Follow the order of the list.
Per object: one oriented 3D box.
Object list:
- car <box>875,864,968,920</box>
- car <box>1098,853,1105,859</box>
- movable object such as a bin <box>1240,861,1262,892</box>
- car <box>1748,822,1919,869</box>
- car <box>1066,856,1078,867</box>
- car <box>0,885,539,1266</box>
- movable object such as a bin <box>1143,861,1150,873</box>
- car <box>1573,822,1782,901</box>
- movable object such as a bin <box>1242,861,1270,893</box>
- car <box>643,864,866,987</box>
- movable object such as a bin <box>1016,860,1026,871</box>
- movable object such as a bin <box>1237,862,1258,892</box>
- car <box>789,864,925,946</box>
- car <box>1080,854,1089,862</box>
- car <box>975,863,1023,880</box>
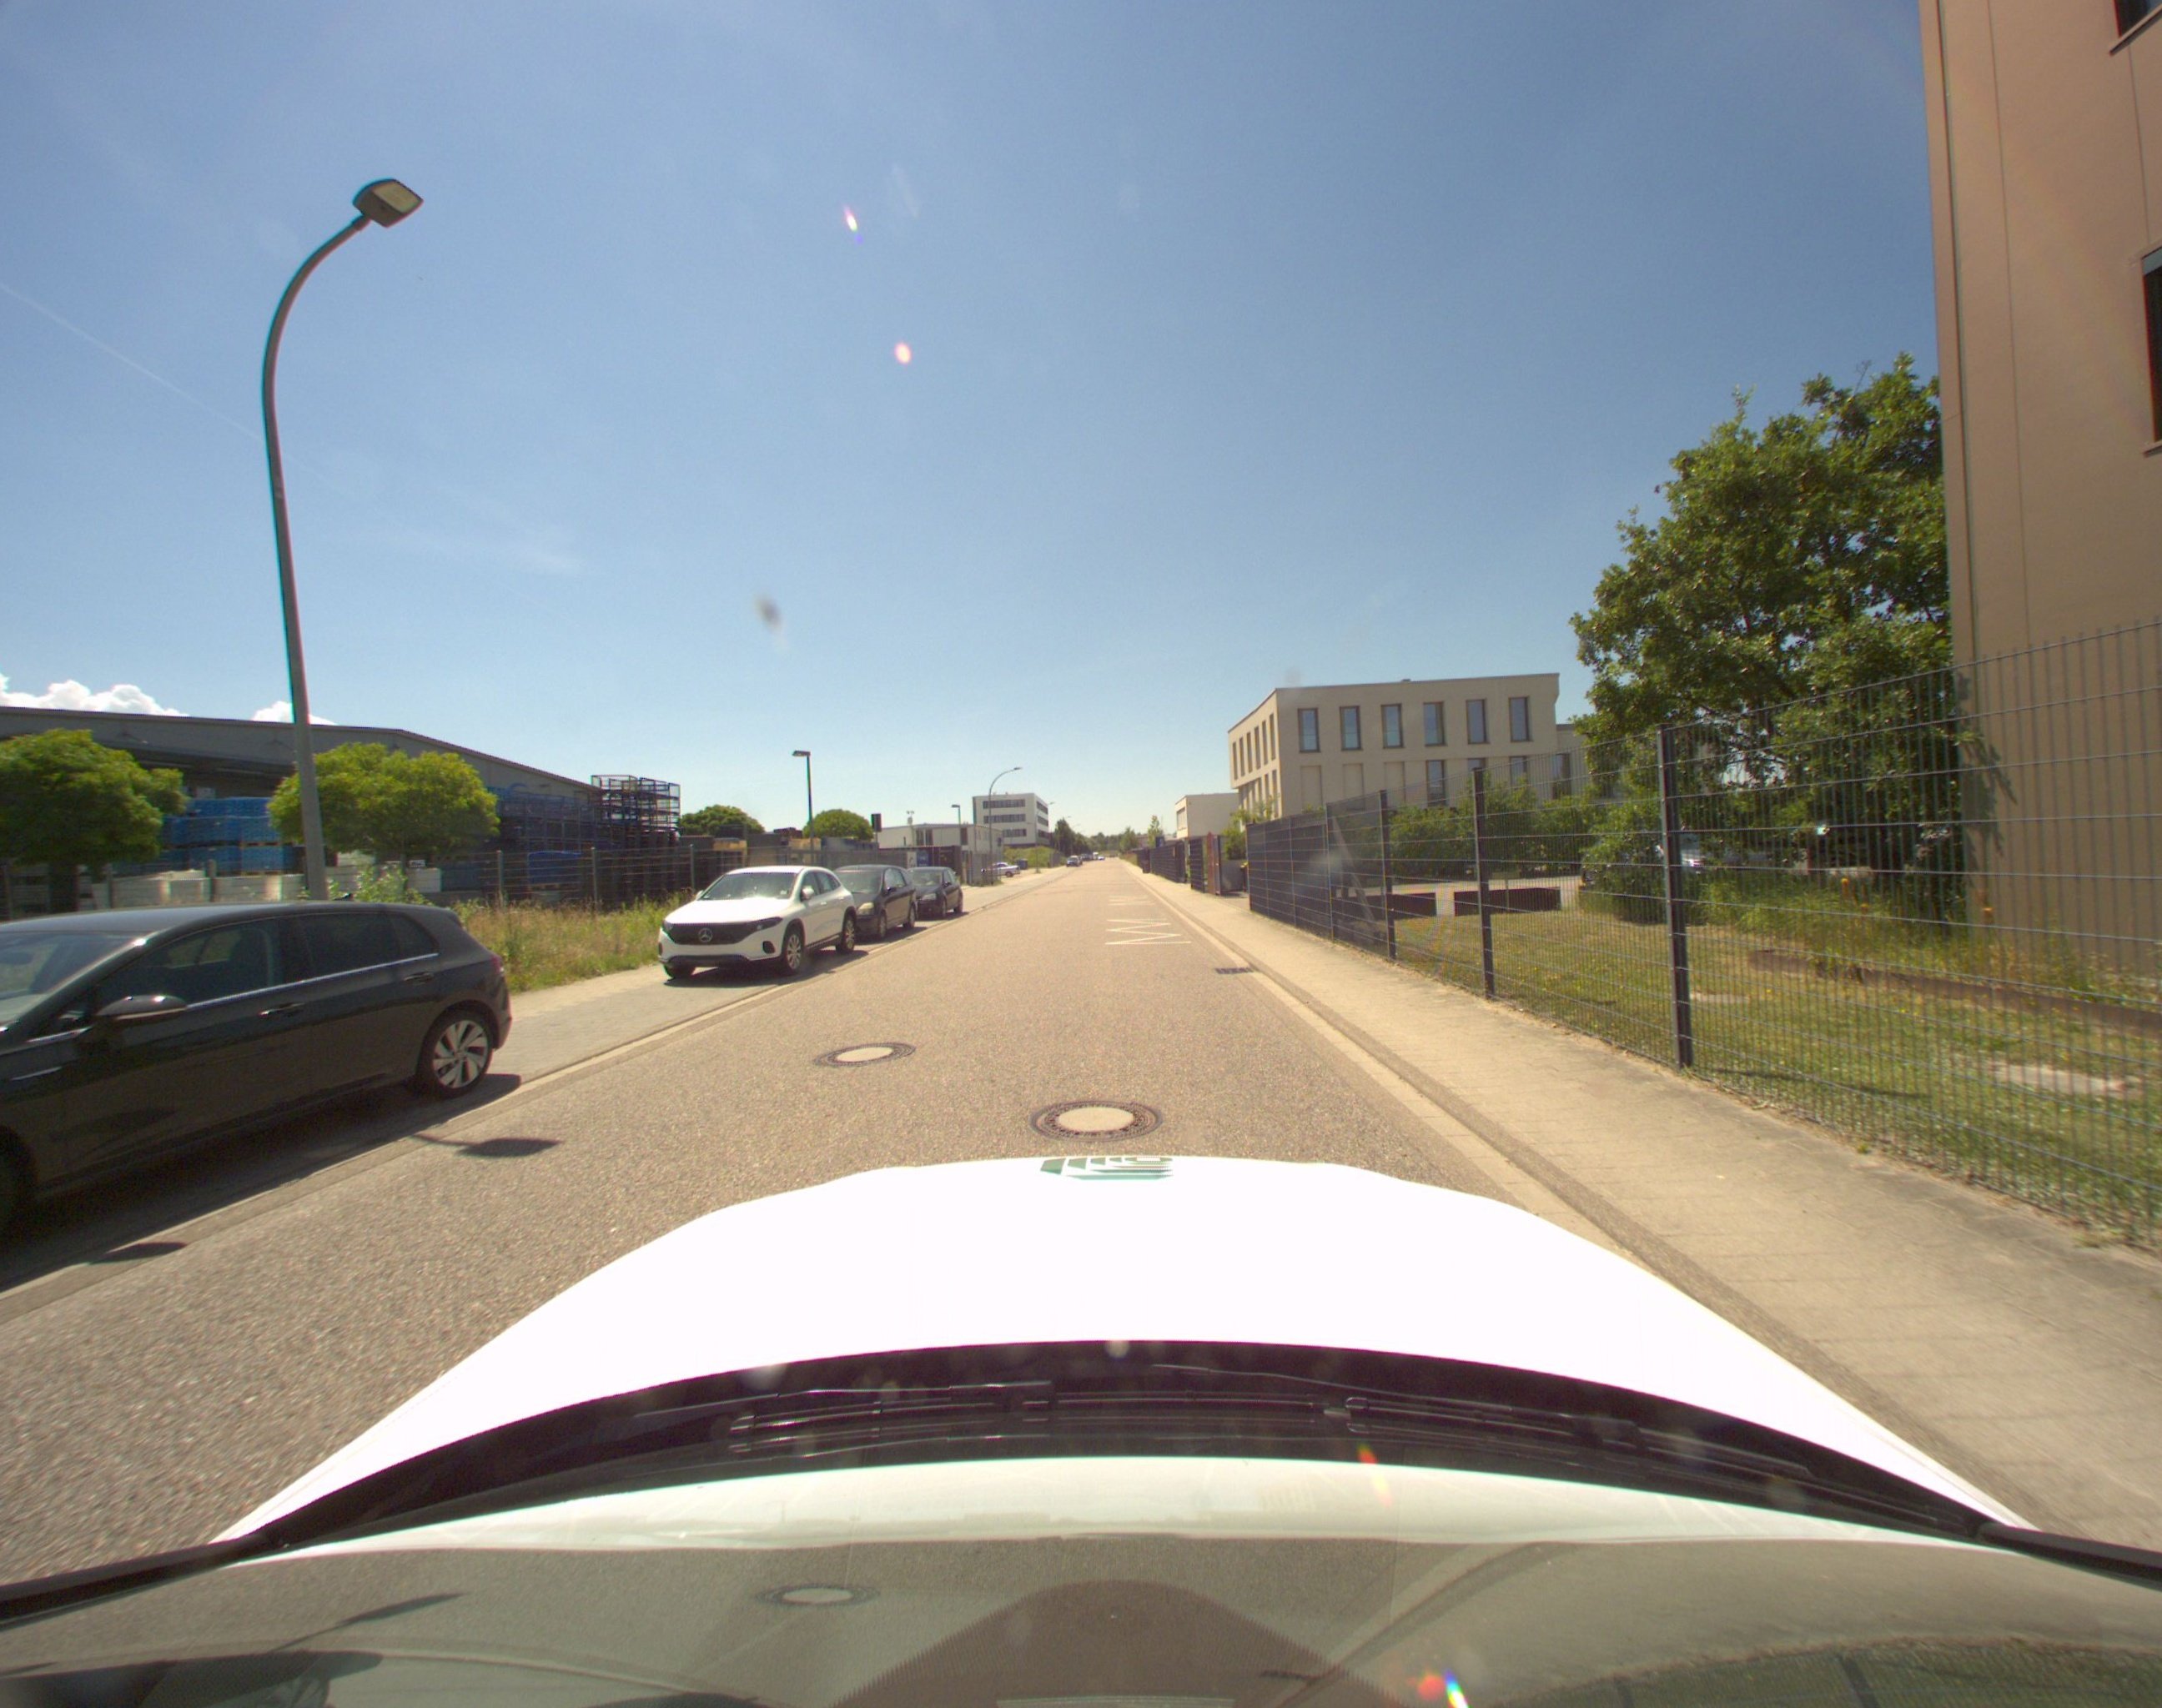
[{"bbox_3d":[-4.649,1.056,24.354,1.762,1.461,4.335,-1,0,2],"label":"car"},{"bbox_3d":[5.915,0.614,230.194,1.797,1.557,4.002,-3,0,2],"label":"car"},{"bbox_3d":[5.940,0.790,28.425,0.602,1.036,0.651,-3,-1,2],"label":"movable object such as a bin"},{"bbox_3d":[24.963,-0.269,27.123,3.970,1.355,1.794,-2,0,3],"label":"car"},{"bbox_3d":[-1.273,1.063,119.062,1.461,1.489,3.209,-2,0,2],"label":"car"},{"bbox_3d":[-5.410,1.007,4.499,1.850,1.481,4.231,-2,0,2],"label":"car"},{"bbox_3d":[5.723,1.143,71.011,0.549,0.928,0.523,-7,0,6],"label":"movable object such as a bin"},{"bbox_3d":[12.775,0.155,17.795,1.649,1.444,4.002,-3,-1,2],"label":"car"},{"bbox_3d":[5.958,0.772,27.788,0.790,1.036,0.581,-3,-1,1],"label":"movable object such as a bin"},{"bbox_3d":[-5.019,0.999,13.246,1.763,1.592,4.360,-1,0,1],"label":"car"},{"bbox_3d":[-8.271,1.552,112.973,1.282,1.412,1.805,-2,0,-2],"label":"movable object such as a bin"},{"bbox_3d":[5.968,0.822,29.233,0.541,1.036,0.914,-3,-1,2],"label":"movable object such as a bin"},{"bbox_3d":[-4.910,1.049,18.537,1.763,1.556,4.502,-1,0,1],"label":"car"},{"bbox_3d":[0.705,0.822,174.039,1.638,1.489,3.209,-2,0,2],"label":"car"},{"bbox_3d":[-7.794,1.653,77.960,4.261,1.364,1.899,-3,0,2],"label":"car"}]
